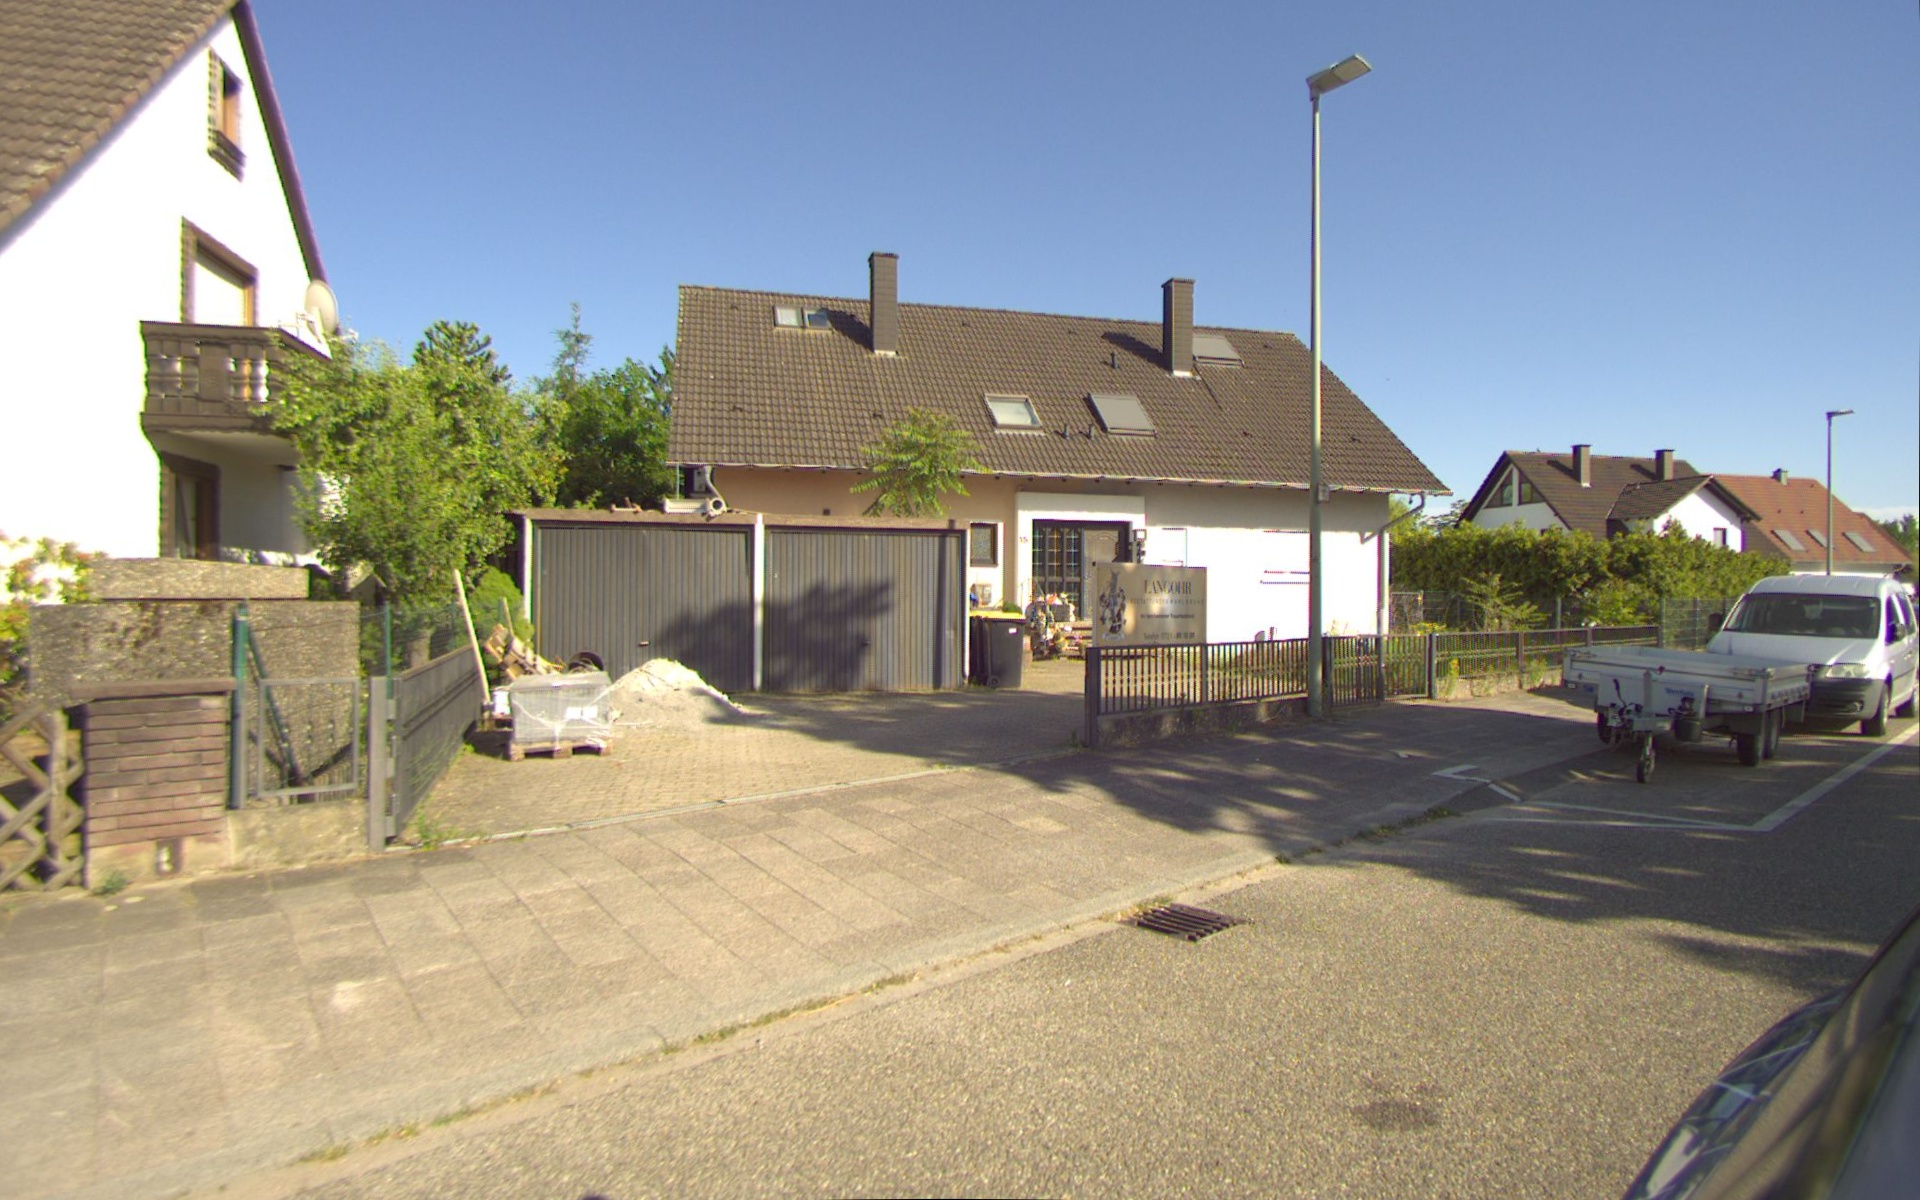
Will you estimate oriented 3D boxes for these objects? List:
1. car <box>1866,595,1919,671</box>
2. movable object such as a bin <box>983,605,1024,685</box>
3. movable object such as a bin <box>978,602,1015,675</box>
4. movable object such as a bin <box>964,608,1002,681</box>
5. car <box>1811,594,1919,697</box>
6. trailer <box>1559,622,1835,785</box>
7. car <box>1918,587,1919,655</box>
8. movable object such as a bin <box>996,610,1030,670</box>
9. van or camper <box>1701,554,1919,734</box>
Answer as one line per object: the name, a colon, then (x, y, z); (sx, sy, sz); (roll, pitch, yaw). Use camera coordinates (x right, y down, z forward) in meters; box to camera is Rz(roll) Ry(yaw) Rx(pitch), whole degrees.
car: (20.585, 0.648, 21.377); (3.839, 1.524, 1.721); (0, 0, -41)
movable object such as a bin: (0.613, 0.625, 14.329); (0.448, 1.110, 0.506); (0, 0, -12)
movable object such as a bin: (0.560, 0.583, 15.637); (0.448, 1.092, 0.506); (0, 0, -12)
movable object such as a bin: (0.341, 0.645, 14.925); (0.448, 1.039, 0.506); (0, 0, -12)
car: (15.317, 0.673, 16.517); (3.502, 1.524, 1.721); (0, 0, -42)
trailer: (7.245, 0.872, 9.864); (3.092, 1.233, 1.629); (0, 0, -43)
car: (25.658, 0.518, 25.613); (3.750, 1.680, 1.778); (0, 0, -42)
movable object such as a bin: (0.884, 0.652, 16.920); (0.448, 0.977, 0.506); (0, 0, -12)
van or camper: (10.974, 0.466, 12.771); (4.106, 1.914, 1.722); (0, 0, -41)
